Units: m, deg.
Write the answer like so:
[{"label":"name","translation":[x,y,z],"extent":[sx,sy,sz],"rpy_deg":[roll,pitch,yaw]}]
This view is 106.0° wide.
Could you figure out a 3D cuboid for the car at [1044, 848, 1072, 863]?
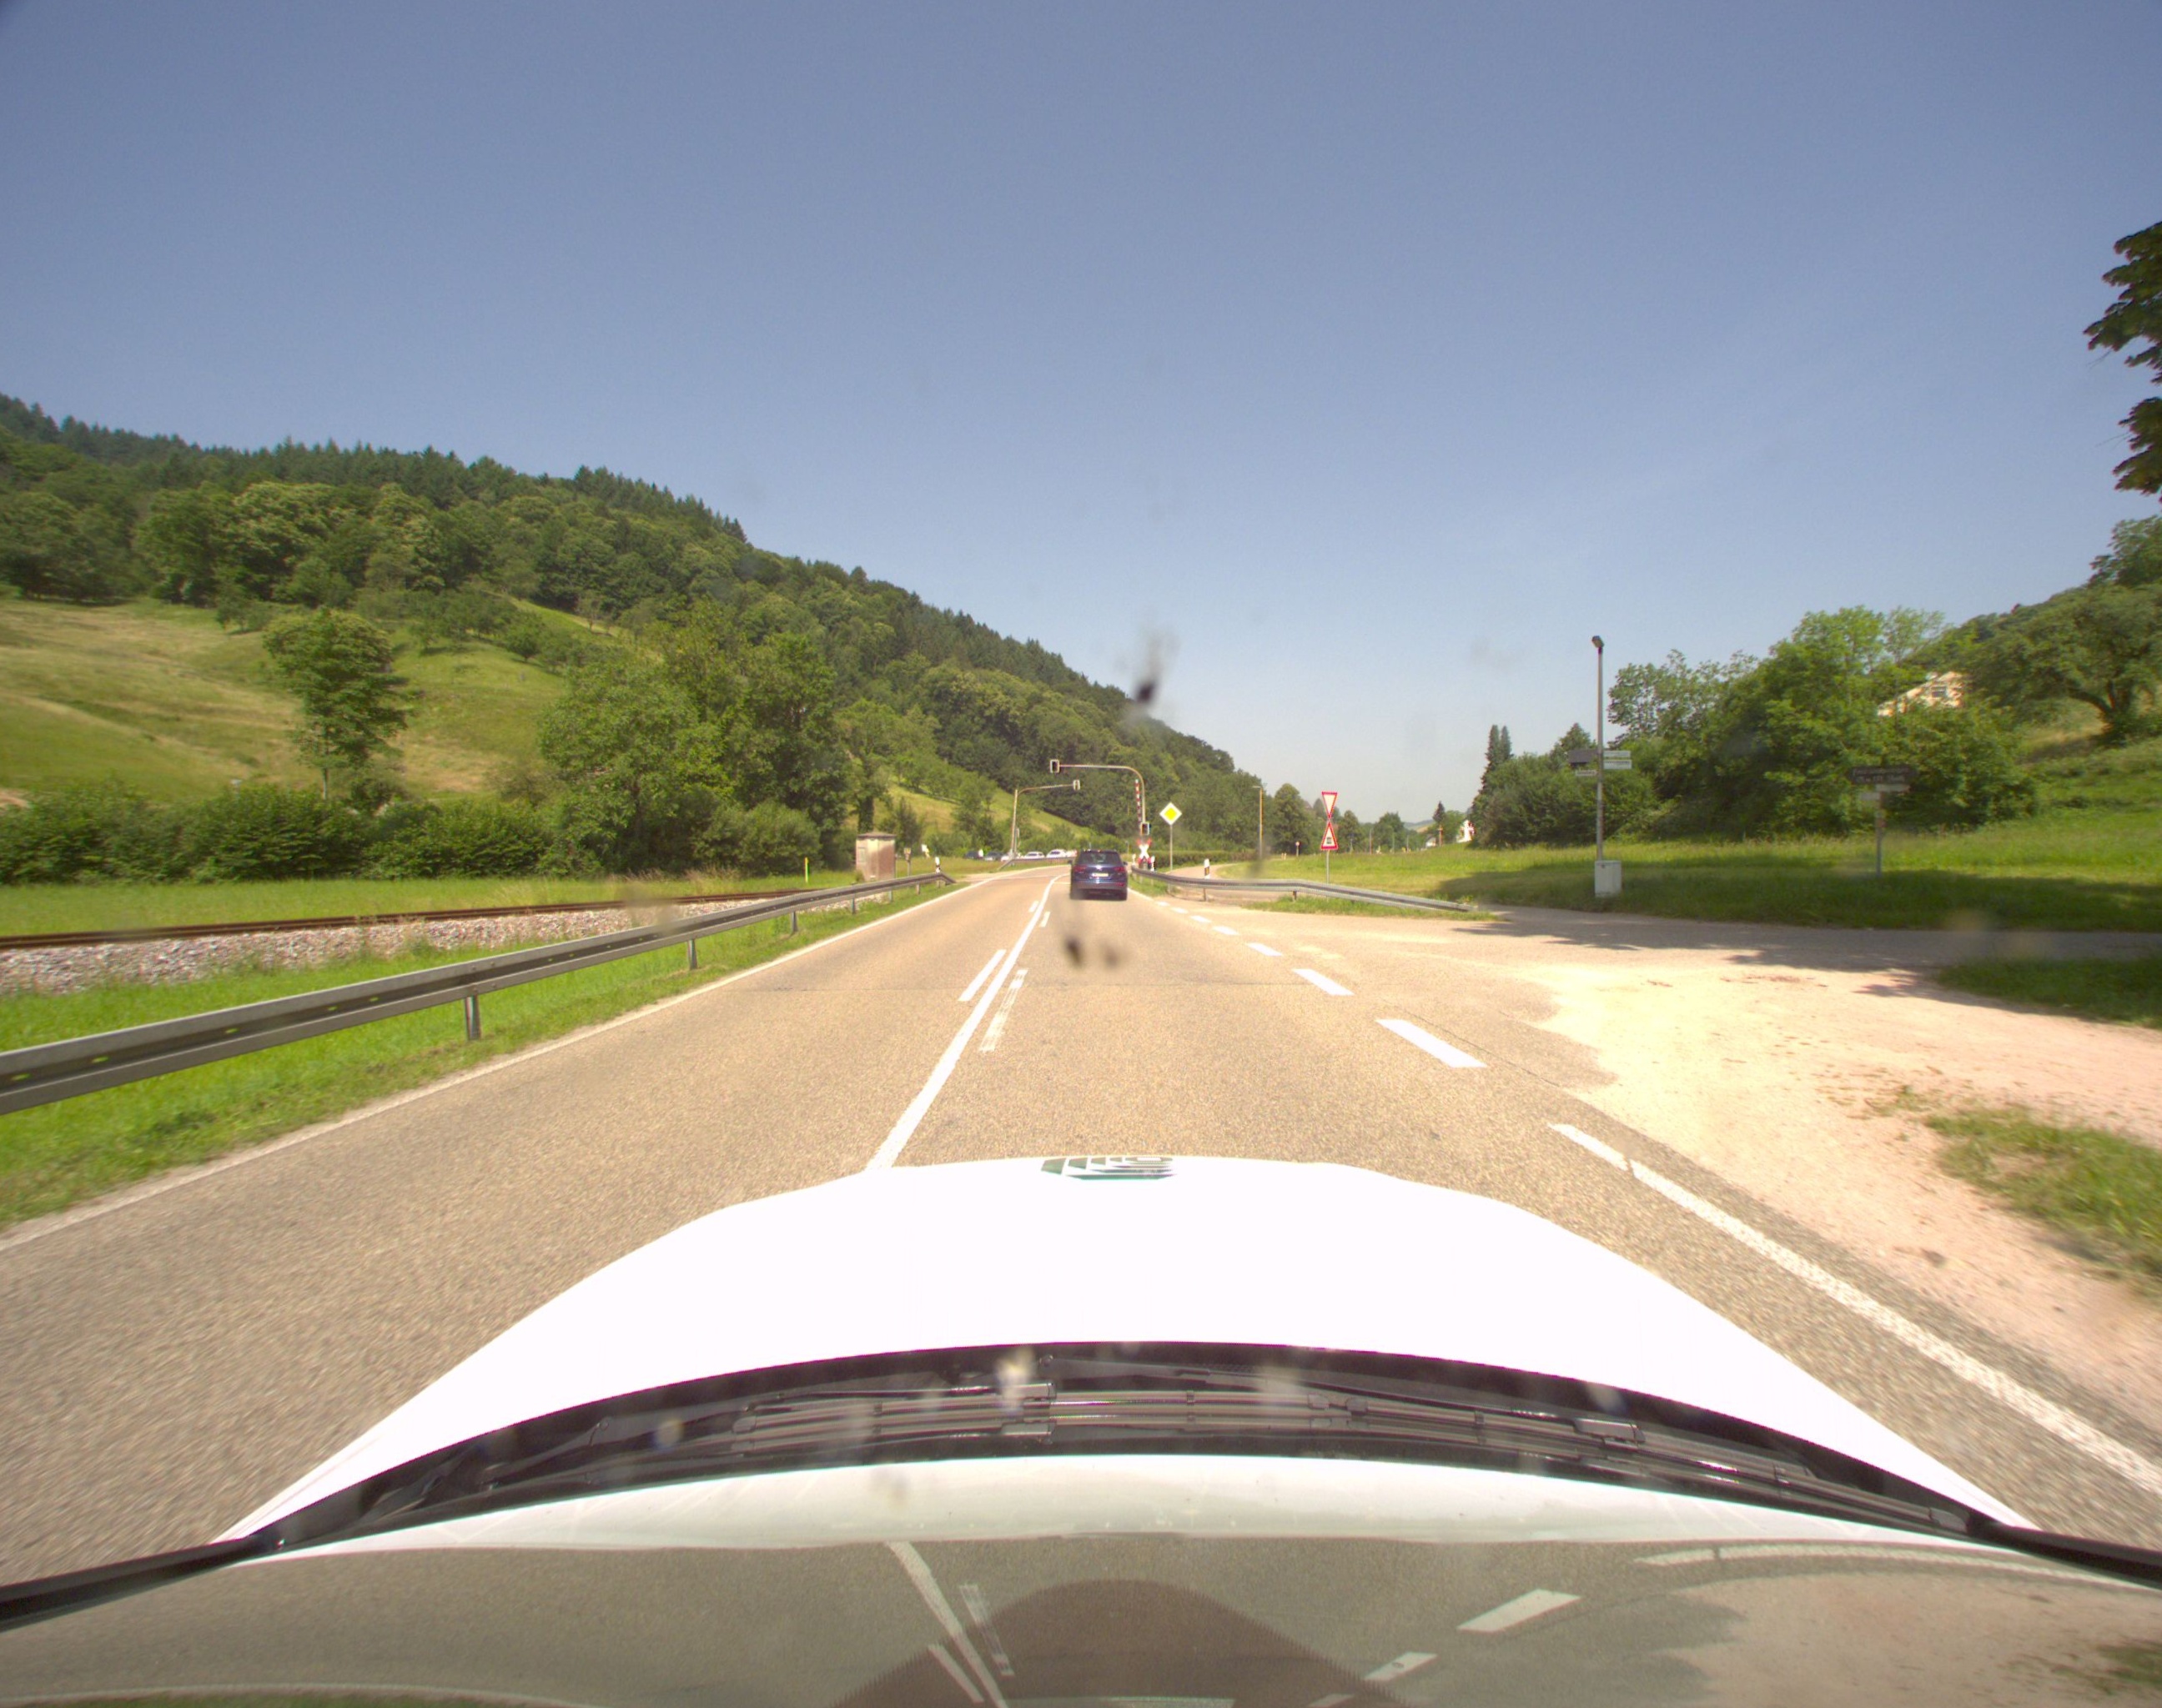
[{"label":"car","translation":[-2.714,0.126,97.964],"extent":[1.856,1.782,4.795],"rpy_deg":[0,0,19]}]

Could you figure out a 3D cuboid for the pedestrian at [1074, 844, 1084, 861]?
[{"label":"pedestrian","translation":[-0.246,-0.139,90.664],"extent":[0.775,1.859,0.641],"rpy_deg":[-1,-1,-41]}]

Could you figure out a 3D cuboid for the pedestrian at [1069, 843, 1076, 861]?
[{"label":"pedestrian","translation":[-0.933,-0.176,90.140],"extent":[0.657,1.955,0.534],"rpy_deg":[-2,0,5]}]

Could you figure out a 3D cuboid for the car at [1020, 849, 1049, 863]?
[{"label":"car","translation":[-5.602,0.207,98.063],"extent":[1.978,1.641,4.922],"rpy_deg":[-1,0,15]}]

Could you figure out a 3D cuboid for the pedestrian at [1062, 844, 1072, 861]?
[{"label":"pedestrian","translation":[-1.555,-0.157,90.687],"extent":[0.761,1.796,0.799],"rpy_deg":[-2,-1,42]}]

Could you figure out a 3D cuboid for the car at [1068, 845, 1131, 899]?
[{"label":"car","translation":[0.537,0.548,27.136],"extent":[1.848,1.649,4.137],"rpy_deg":[1,0,-2]}]

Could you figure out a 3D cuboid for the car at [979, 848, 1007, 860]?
[{"label":"car","translation":[-10.663,-0.005,99.073],"extent":[1.980,1.500,4.538],"rpy_deg":[1,0,13]}]

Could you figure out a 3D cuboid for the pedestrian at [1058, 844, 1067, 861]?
[{"label":"pedestrian","translation":[-2.068,-0.125,89.830],"extent":[0.780,1.842,0.702],"rpy_deg":[-1,0,26]}]

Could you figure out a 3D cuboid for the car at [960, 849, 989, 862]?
[{"label":"car","translation":[-13.052,0.217,99.757],"extent":[1.979,1.500,4.538],"rpy_deg":[-1,0,13]}]

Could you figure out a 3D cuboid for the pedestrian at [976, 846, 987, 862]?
[{"label":"pedestrian","translation":[-11.342,0.018,92.758],"extent":[0.948,1.794,1.002],"rpy_deg":[-2,0,9]}]

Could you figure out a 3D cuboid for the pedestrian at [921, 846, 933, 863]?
[{"label":"pedestrian","translation":[-18.034,0.012,95.339],"extent":[1.115,1.969,0.867],"rpy_deg":[-2,-1,31]}]

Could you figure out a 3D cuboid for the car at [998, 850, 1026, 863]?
[{"label":"car","translation":[-8.260,0.305,98.399],"extent":[1.979,1.500,4.538],"rpy_deg":[-1,0,13]}]
